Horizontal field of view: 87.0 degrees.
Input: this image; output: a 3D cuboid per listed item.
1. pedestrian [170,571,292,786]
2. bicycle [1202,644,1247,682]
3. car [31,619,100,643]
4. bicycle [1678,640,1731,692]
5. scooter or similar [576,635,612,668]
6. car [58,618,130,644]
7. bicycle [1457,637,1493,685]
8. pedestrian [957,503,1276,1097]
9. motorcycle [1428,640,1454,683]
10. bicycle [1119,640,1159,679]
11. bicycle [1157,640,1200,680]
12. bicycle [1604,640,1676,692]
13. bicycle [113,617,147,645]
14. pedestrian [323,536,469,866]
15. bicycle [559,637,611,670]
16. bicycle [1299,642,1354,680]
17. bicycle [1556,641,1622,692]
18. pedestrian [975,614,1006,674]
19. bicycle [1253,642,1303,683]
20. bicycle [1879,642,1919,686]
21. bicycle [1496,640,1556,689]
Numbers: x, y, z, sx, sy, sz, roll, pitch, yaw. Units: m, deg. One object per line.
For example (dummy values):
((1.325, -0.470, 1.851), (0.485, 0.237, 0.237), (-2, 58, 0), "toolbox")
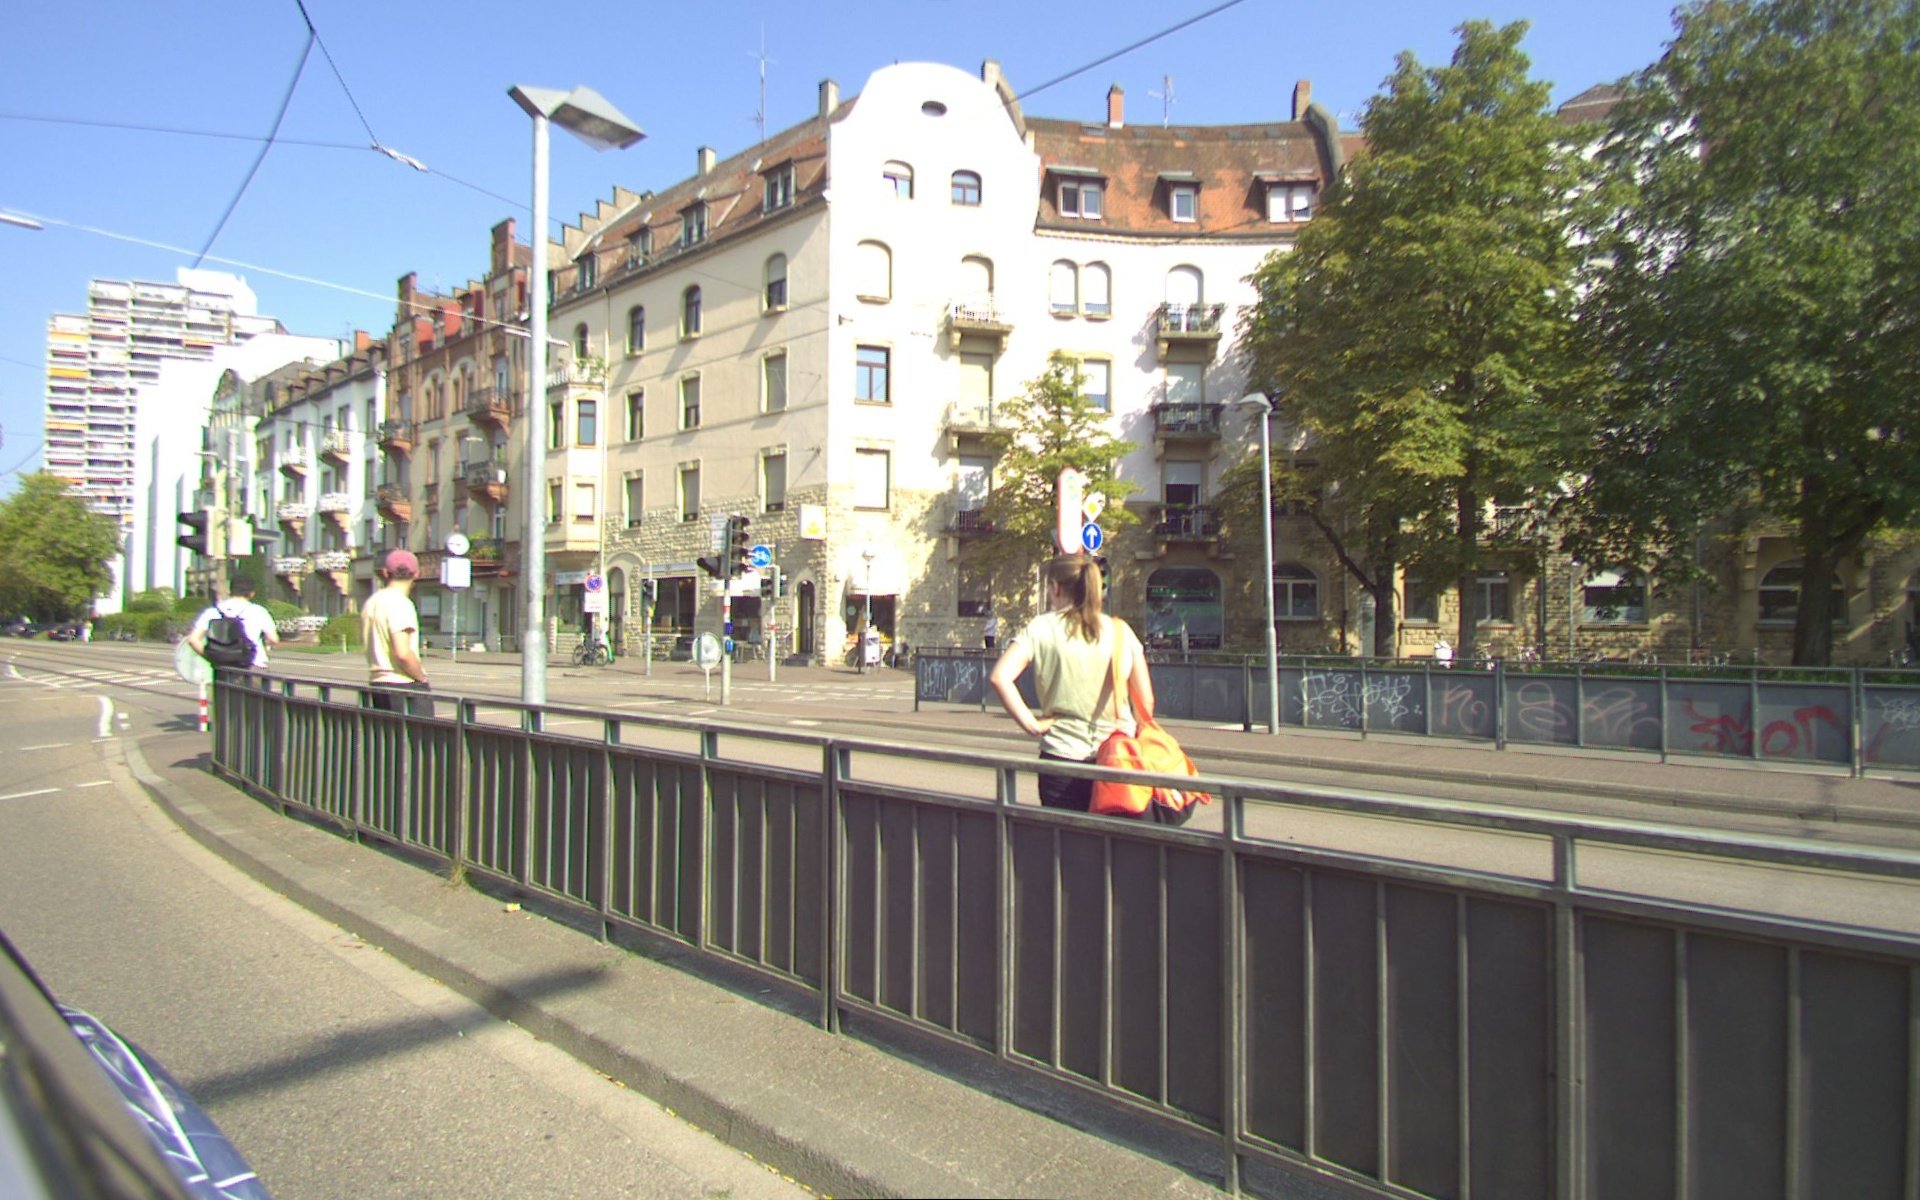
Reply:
((-6.445, 0.667, 8.945), (0.738, 1.783, 0.721), (-5, -3, 44), "pedestrian")
((8.113, 1.902, 31.124), (0.687, 1.087, 2.342), (0, -2, -2), "bicycle")
((-76.369, 2.674, 86.499), (1.981, 2.029, 3.982), (0, -2, 14), "car")
((20.939, 1.833, 28.503), (0.863, 1.381, 2.281), (-1, -2, 28), "bicycle")
((-12.860, 1.810, 35.577), (1.080, 1.167, 0.441), (0, -2, 4), "scooter or similar")
((-69.884, 2.533, 81.760), (1.981, 2.029, 3.982), (0, -2, 14), "car")
((15.442, 1.793, 30.343), (0.864, 1.381, 2.280), (-1, -2, 29), "bicycle")
((0.555, 0.573, 3.420), (0.863, 1.667, 0.808), (-1, -2, 27), "pedestrian")
((14.577, 1.839, 30.674), (0.674, 1.186, 1.868), (0, -1, 25), "motorcycle")
((5.441, 1.798, 30.901), (0.687, 1.087, 2.343), (0, -1, -2), "bicycle")
((6.605, 1.787, 30.689), (0.687, 1.087, 2.343), (0, -1, -2), "bicycle")
((19.495, 1.865, 29.082), (0.858, 1.381, 2.295), (0, -2, 11), "bicycle")
((-59.085, 2.189, 72.029), (3.547, 1.872, 1.004), (-1, 0, 35), "bicycle")
((-3.357, 0.567, 6.027), (0.676, 1.816, 0.552), (-2, -3, 44), "pedestrian")
((-12.904, 1.822, 34.805), (1.887, 1.112, 0.540), (-1, -2, 28), "bicycle")
((11.001, 1.810, 30.460), (0.687, 1.087, 2.342), (0, -2, -2), "bicycle")
((18.211, 1.896, 29.367), (0.858, 1.381, 2.295), (0, -2, 11), "bicycle")
((0.971, 1.402, 32.223), (0.672, 1.882, 0.726), (-1, -2, 37), "pedestrian")
((9.517, 1.848, 30.368), (0.687, 1.087, 2.343), (0, -1, -2), "bicycle")
((24.922, 1.637, 25.662), (2.330, 1.112, 0.764), (-1, -2, 38), "bicycle")
((16.733, 1.873, 29.994), (0.858, 1.381, 2.295), (0, -2, 11), "bicycle")
